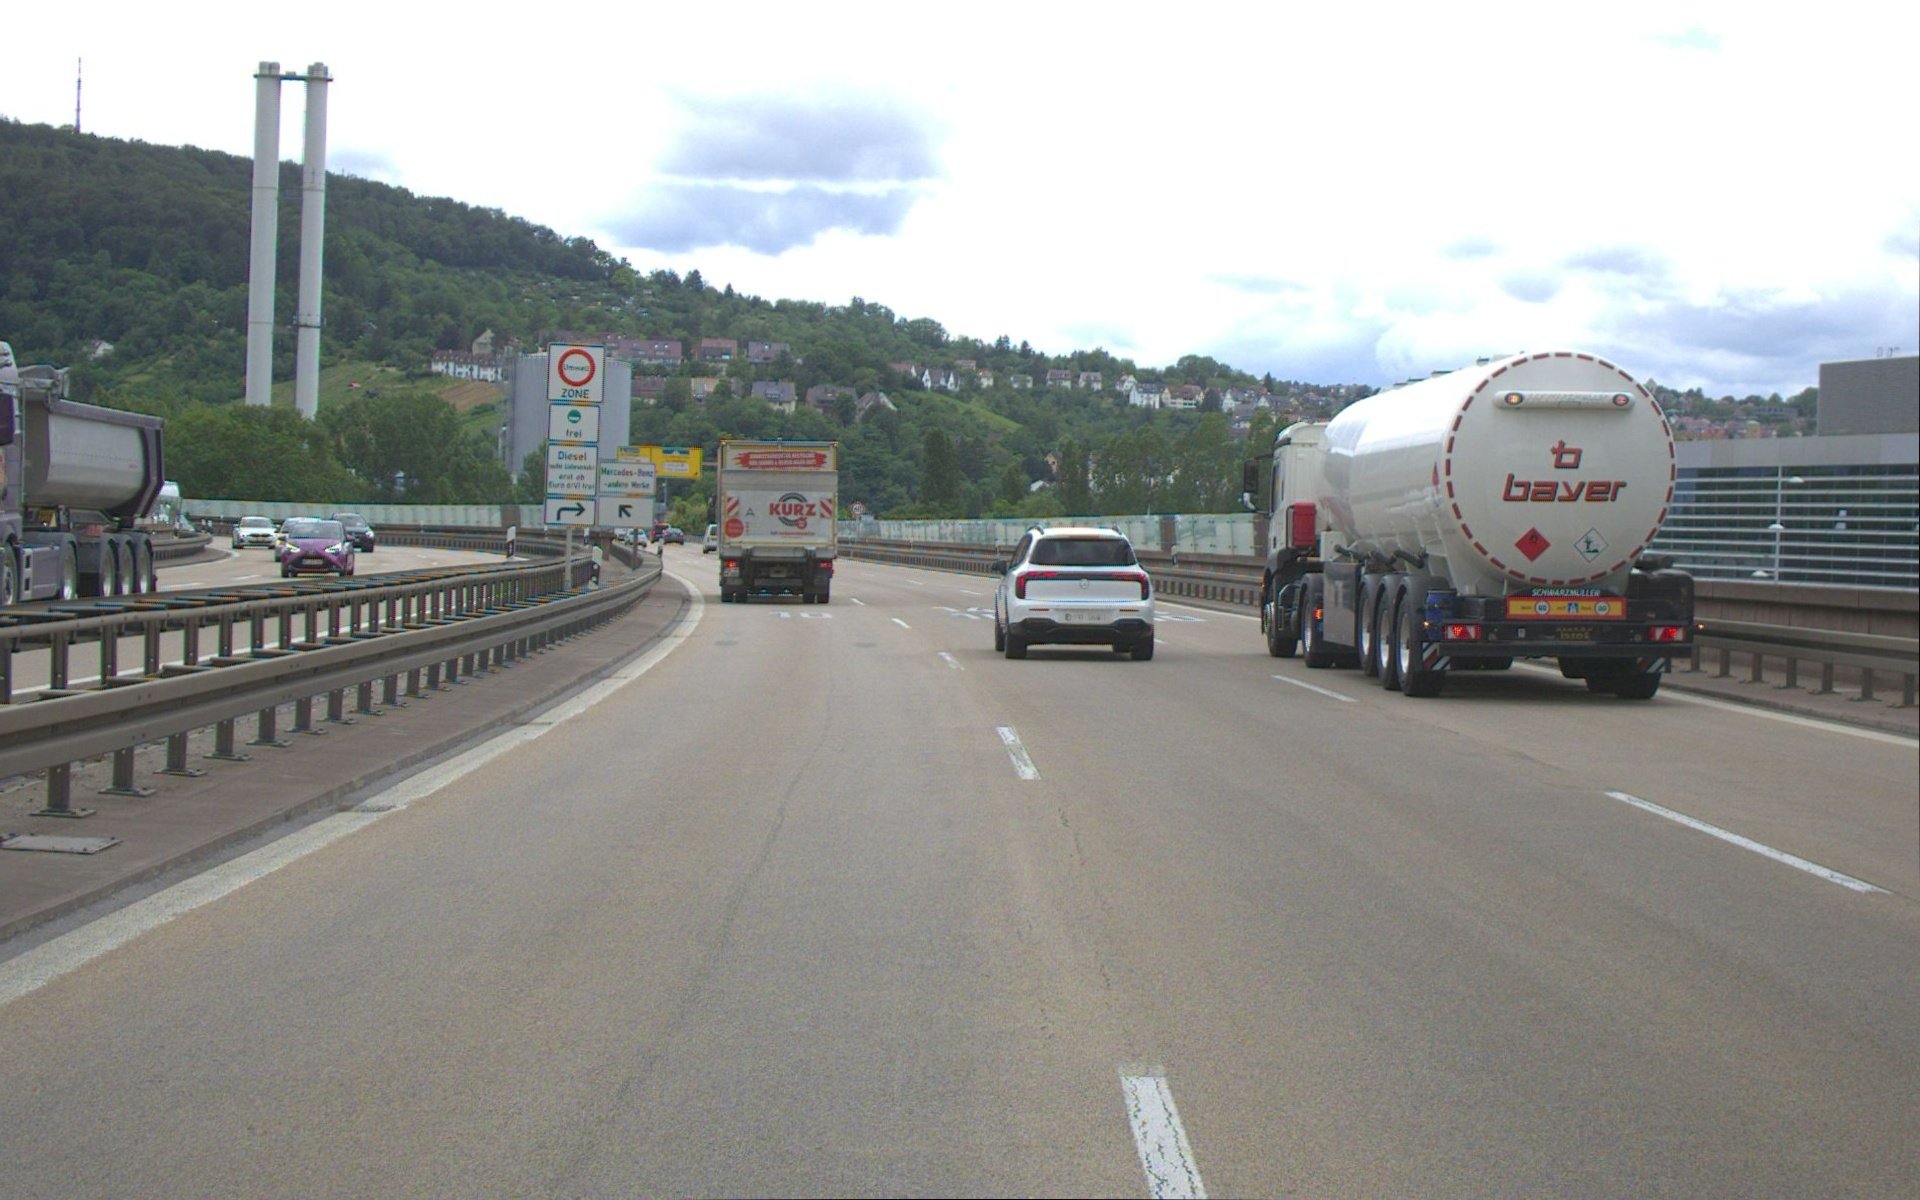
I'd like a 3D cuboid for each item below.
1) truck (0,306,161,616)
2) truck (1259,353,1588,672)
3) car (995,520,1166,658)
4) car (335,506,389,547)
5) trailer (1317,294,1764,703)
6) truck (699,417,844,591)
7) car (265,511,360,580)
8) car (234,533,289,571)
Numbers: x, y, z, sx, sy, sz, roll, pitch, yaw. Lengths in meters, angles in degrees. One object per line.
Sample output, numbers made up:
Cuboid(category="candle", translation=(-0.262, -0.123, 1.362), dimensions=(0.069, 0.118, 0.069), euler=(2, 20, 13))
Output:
Cuboid(category="truck", translation=(-13.486, -1.772, 47.296), dimensions=(2.810, 3.796, 12.021), euler=(1, 0, -3))
Cuboid(category="truck", translation=(5.628, -1.031, 42.821), dimensions=(3.014, 3.644, 6.274), euler=(1, 0, -2))
Cuboid(category="car", translation=(1.503, -0.147, 44.526), dimensions=(1.993, 1.669, 4.408), euler=(1, 0, 0))
Cuboid(category="car", translation=(-25.611, -3.128, 147.316), dimensions=(1.993, 1.669, 4.409), euler=(1, 0, -7))
Cuboid(category="trailer", translation=(5.864, -0.984, 36.312), dimensions=(3.057, 3.777, 8.304), euler=(1, 0, -2))
Cuboid(category="truck", translation=(-4.193, -2.099, 77.968), dimensions=(3.057, 3.678, 8.304), euler=(1, 0, -2))
Cuboid(category="car", translation=(-16.395, -1.357, 87.189), dimensions=(1.993, 1.669, 4.409), euler=(1, 0, -6))
Cuboid(category="car", translation=(-31.243, -2.144, 153.804), dimensions=(1.993, 1.669, 4.409), euler=(1, 0, -6))
